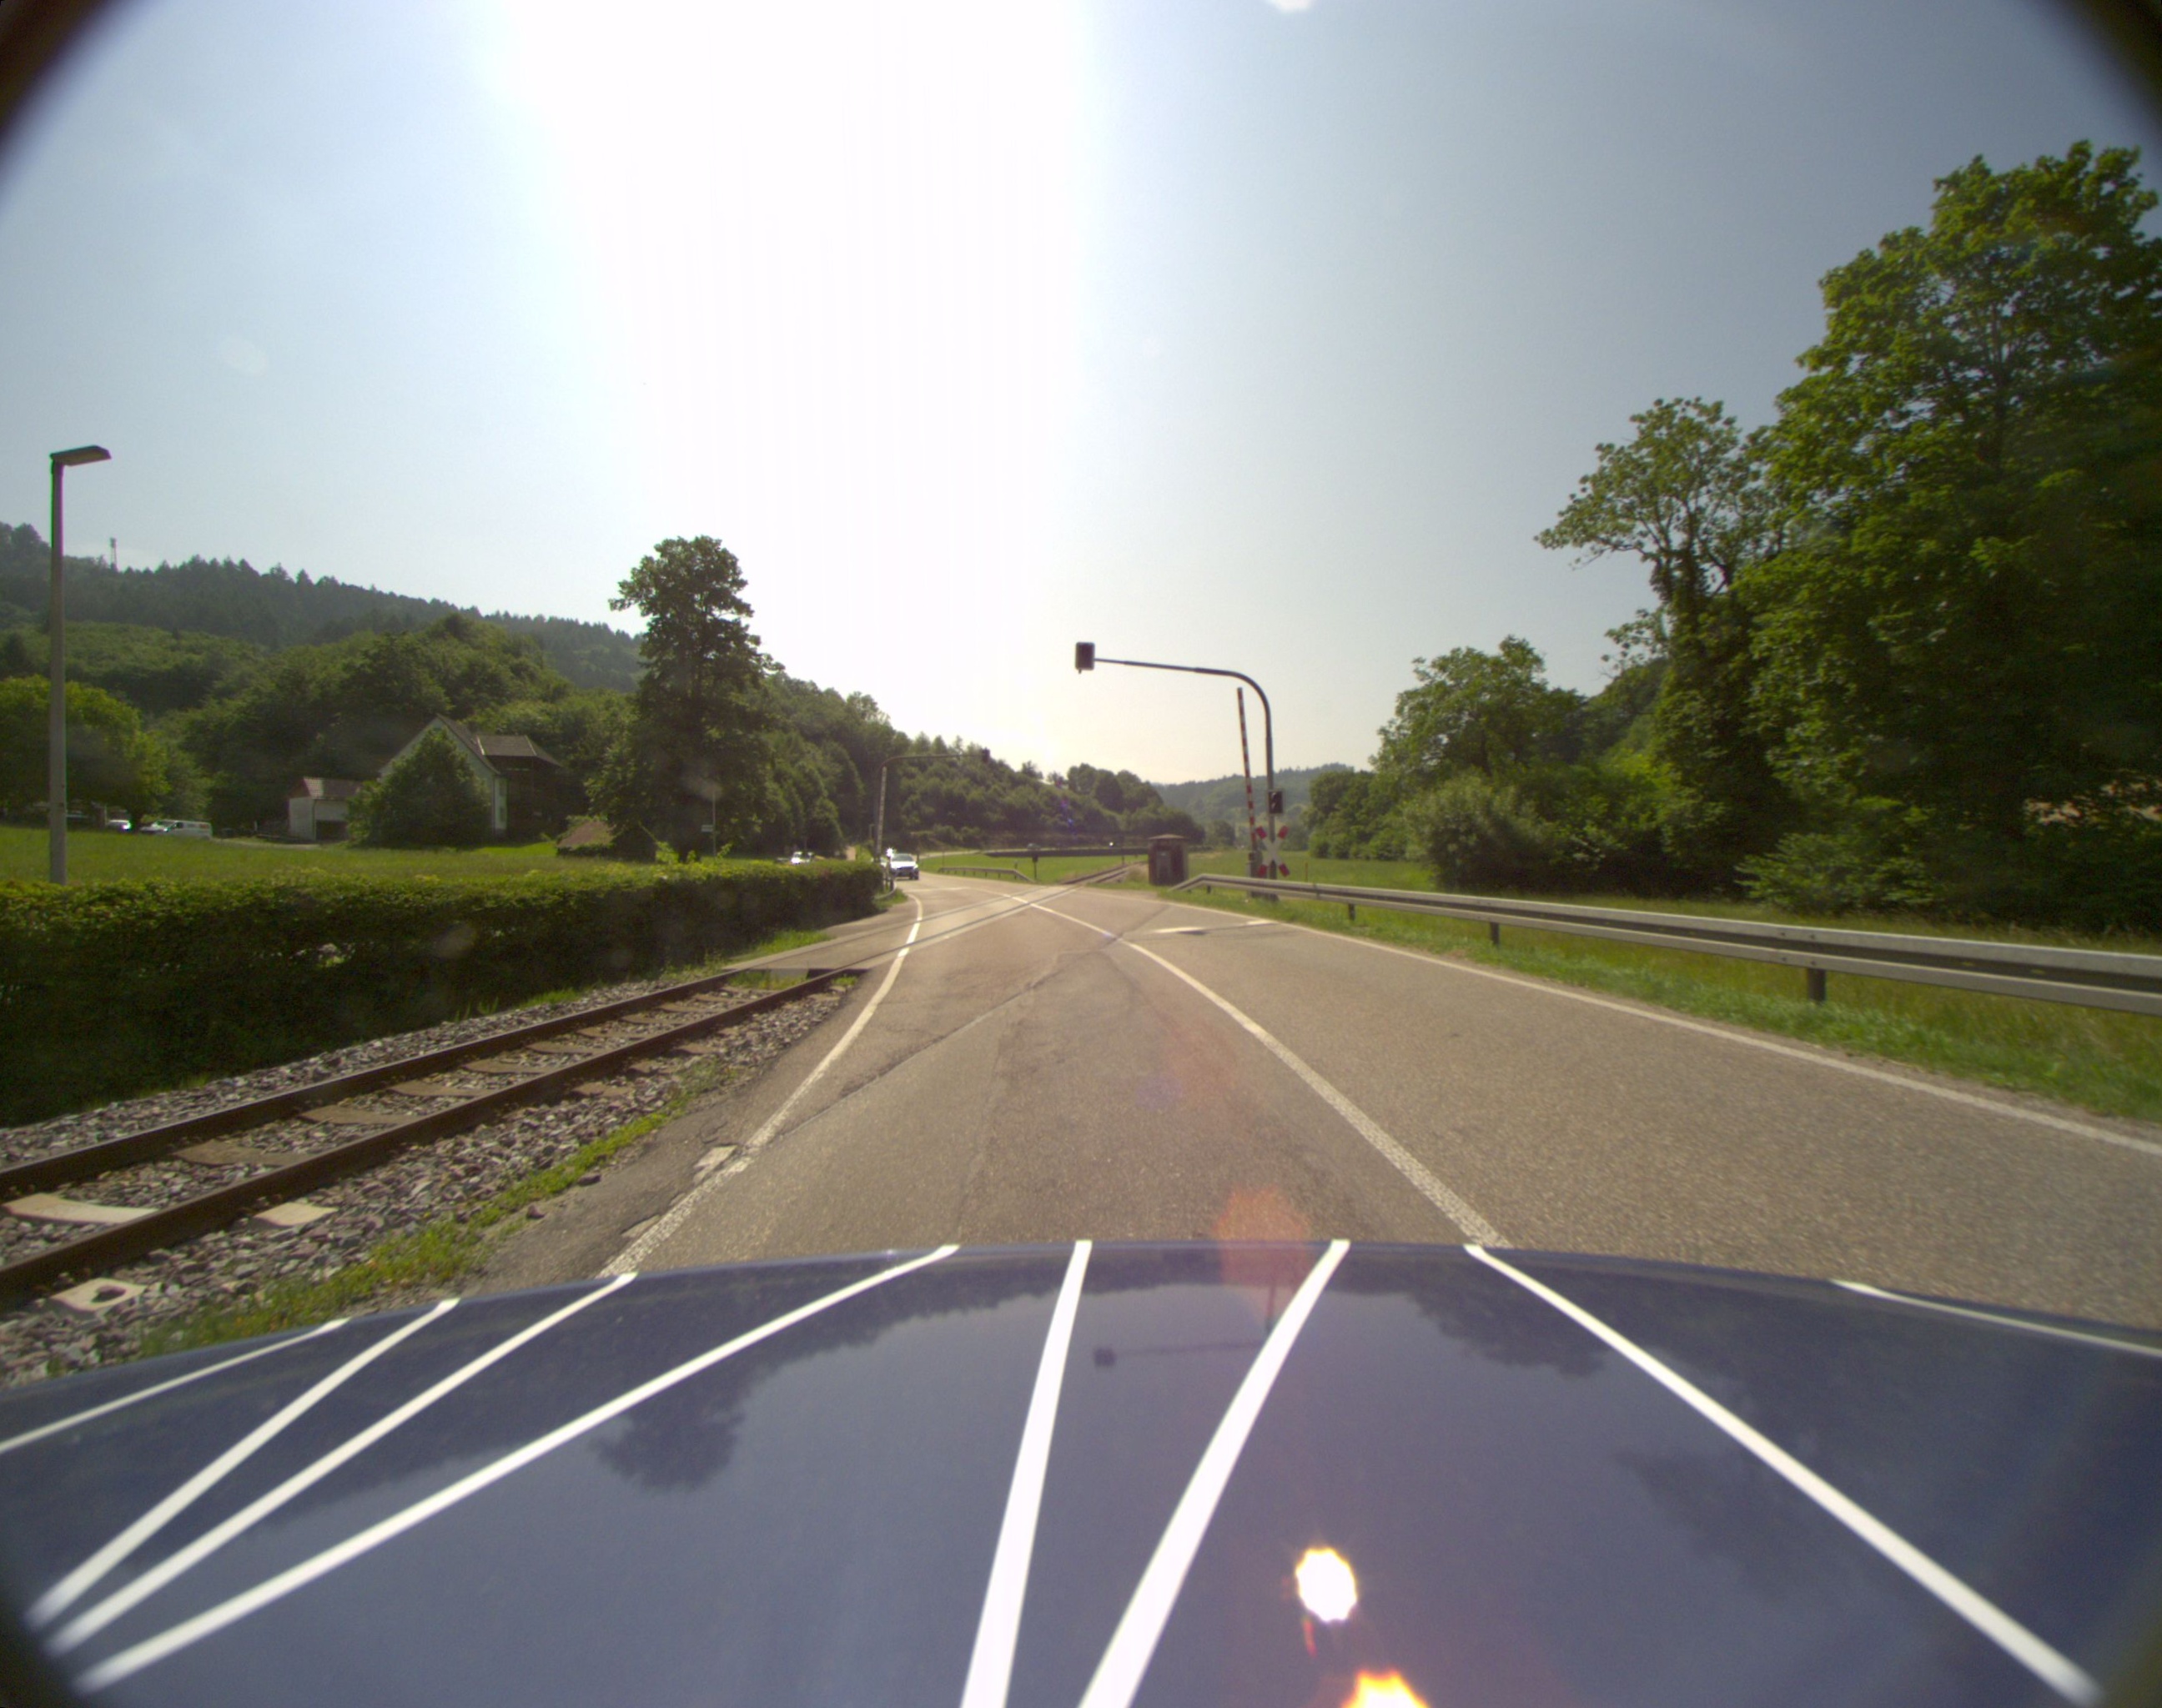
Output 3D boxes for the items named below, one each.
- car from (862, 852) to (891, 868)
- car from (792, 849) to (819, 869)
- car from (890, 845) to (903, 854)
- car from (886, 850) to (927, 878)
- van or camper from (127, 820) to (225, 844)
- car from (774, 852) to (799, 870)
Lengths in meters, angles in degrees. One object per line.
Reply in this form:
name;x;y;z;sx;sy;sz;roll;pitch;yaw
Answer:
car;-19.888;0.566;73.735;2.150;1.482;4.662;0;1;-22
car;-28.447;0.451;78.639;2.007;1.837;4.862;5;0;-14
car;-35.271;-0.901;145.230;2.000;1.774;3.997;0;1;-8
car;-12.036;0.669;52.159;2.121;1.804;4.446;0;1;-21
van or camper;-78.581;-1.844;66.129;2.820;1.938;5.429;0;0;-14
car;-27.211;0.604;70.125;1.682;1.448;3.706;2;1;-28
